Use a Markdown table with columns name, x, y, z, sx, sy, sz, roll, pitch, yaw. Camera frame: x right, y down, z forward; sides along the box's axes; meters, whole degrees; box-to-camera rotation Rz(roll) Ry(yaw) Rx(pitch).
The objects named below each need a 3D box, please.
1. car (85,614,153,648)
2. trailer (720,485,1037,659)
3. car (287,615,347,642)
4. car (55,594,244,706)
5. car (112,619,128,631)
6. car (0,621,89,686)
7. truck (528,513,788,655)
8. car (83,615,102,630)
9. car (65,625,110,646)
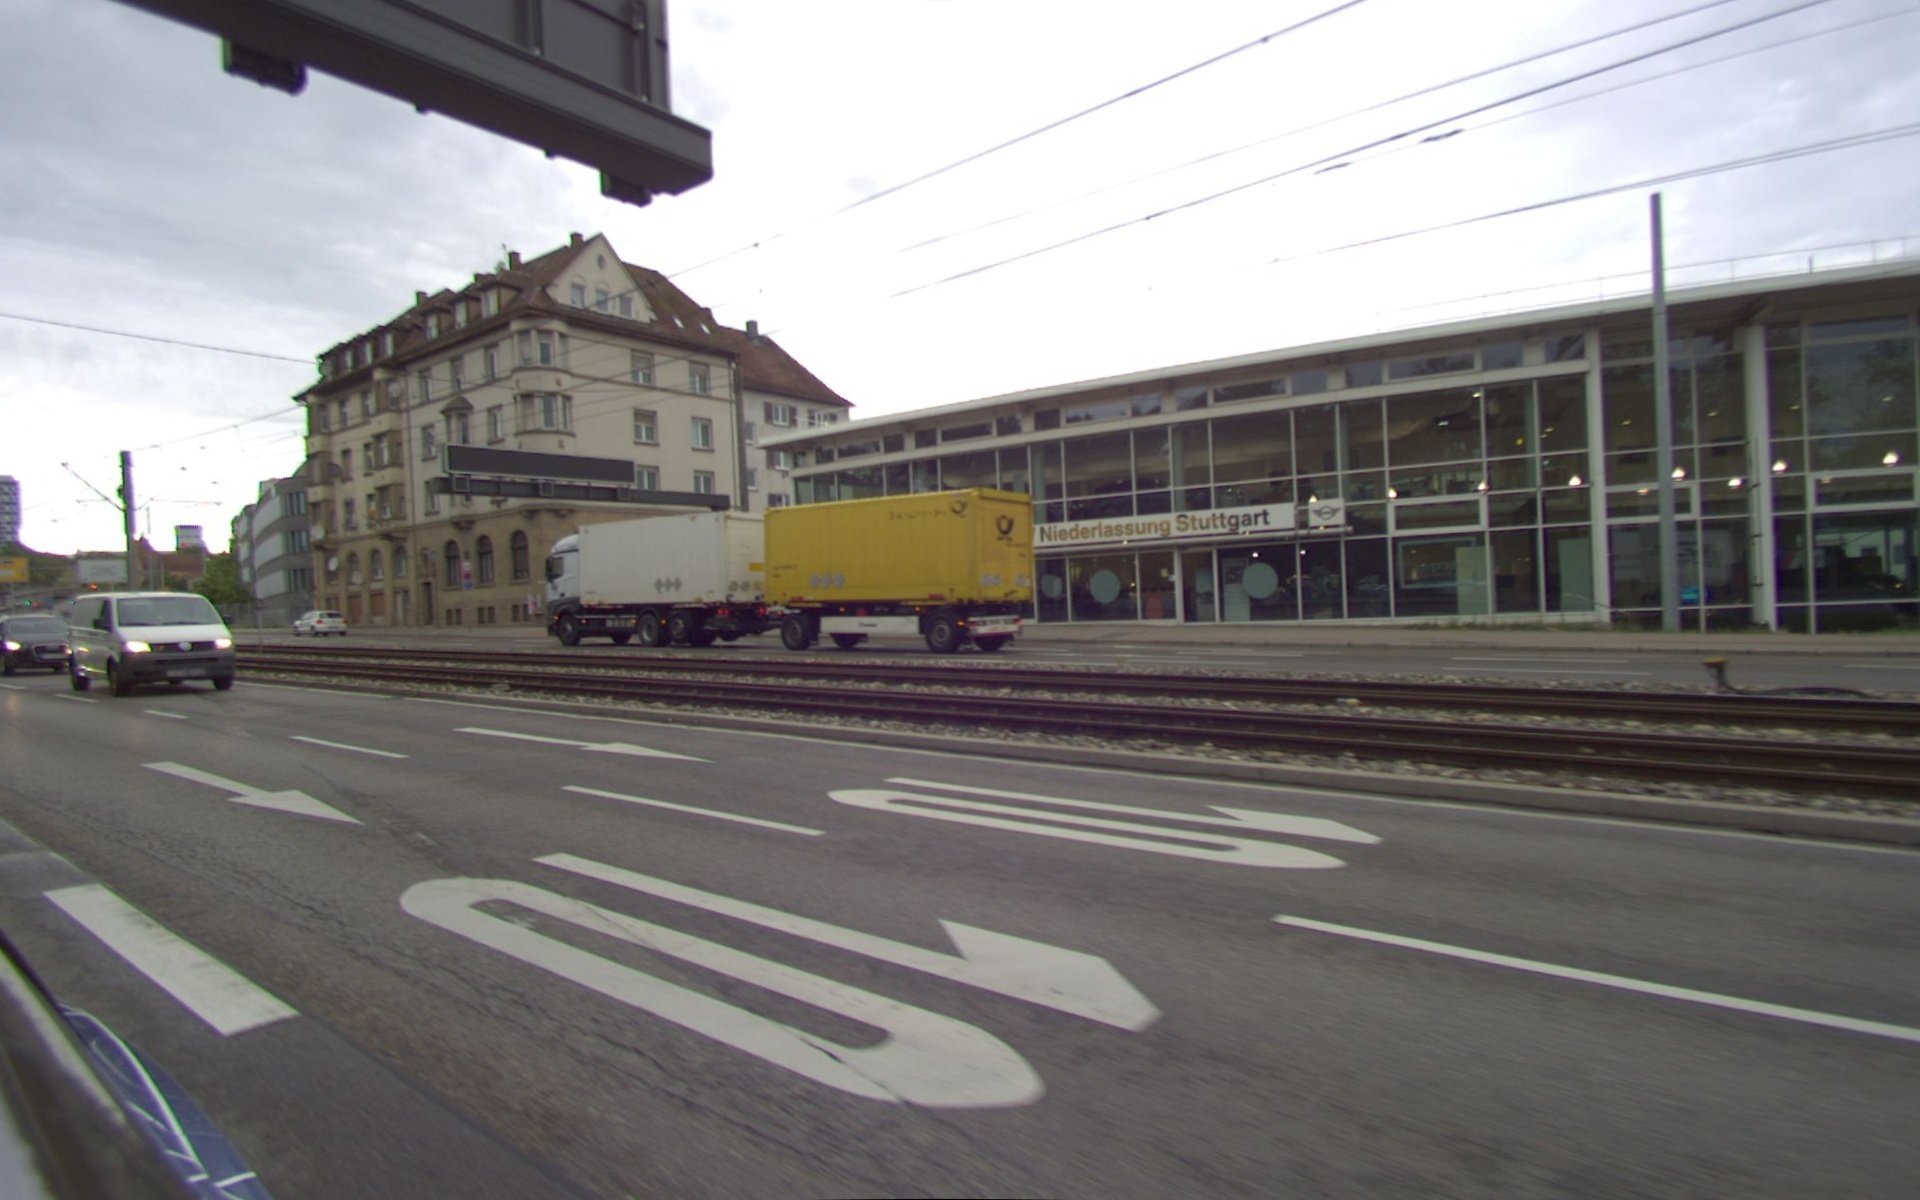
| name | x | y | z | sx | sy | sz | roll | pitch | yaw |
| --- | --- | --- | --- | --- | --- | --- | --- | --- | --- |
| car | -50.250 | 1.842 | 60.435 | 5.184 | 1.888 | 1.975 | -2 | 0 | 37 |
| trailer | -2.471 | -0.571 | 27.516 | 9.067 | 4.082 | 2.659 | -2 | 0 | 37 |
| car | -36.684 | 1.634 | 57.679 | 3.845 | 1.415 | 1.664 | -2 | 0 | 38 |
| car | -16.252 | 0.943 | 20.205 | 4.711 | 1.973 | 1.891 | -2 | 0 | 38 |
| car | -136.923 | 4.074 | 164.961 | 1.808 | 1.811 | 4.223 | 0 | -2 | -38 |
| car | -25.056 | 1.395 | 27.227 | 3.890 | 1.585 | 1.688 | -2 | 0 | 38 |
| truck | -10.186 | -0.372 | 33.315 | 10.124 | 4.082 | 2.658 | -2 | 0 | 37 |
| car | -148.410 | 3.858 | 173.146 | 2.302 | 2.486 | 7.038 | -1 | 0 | -40 |
| car | -68.689 | 2.761 | 79.672 | 4.734 | 1.604 | 1.705 | -2 | -2 | 37 |
